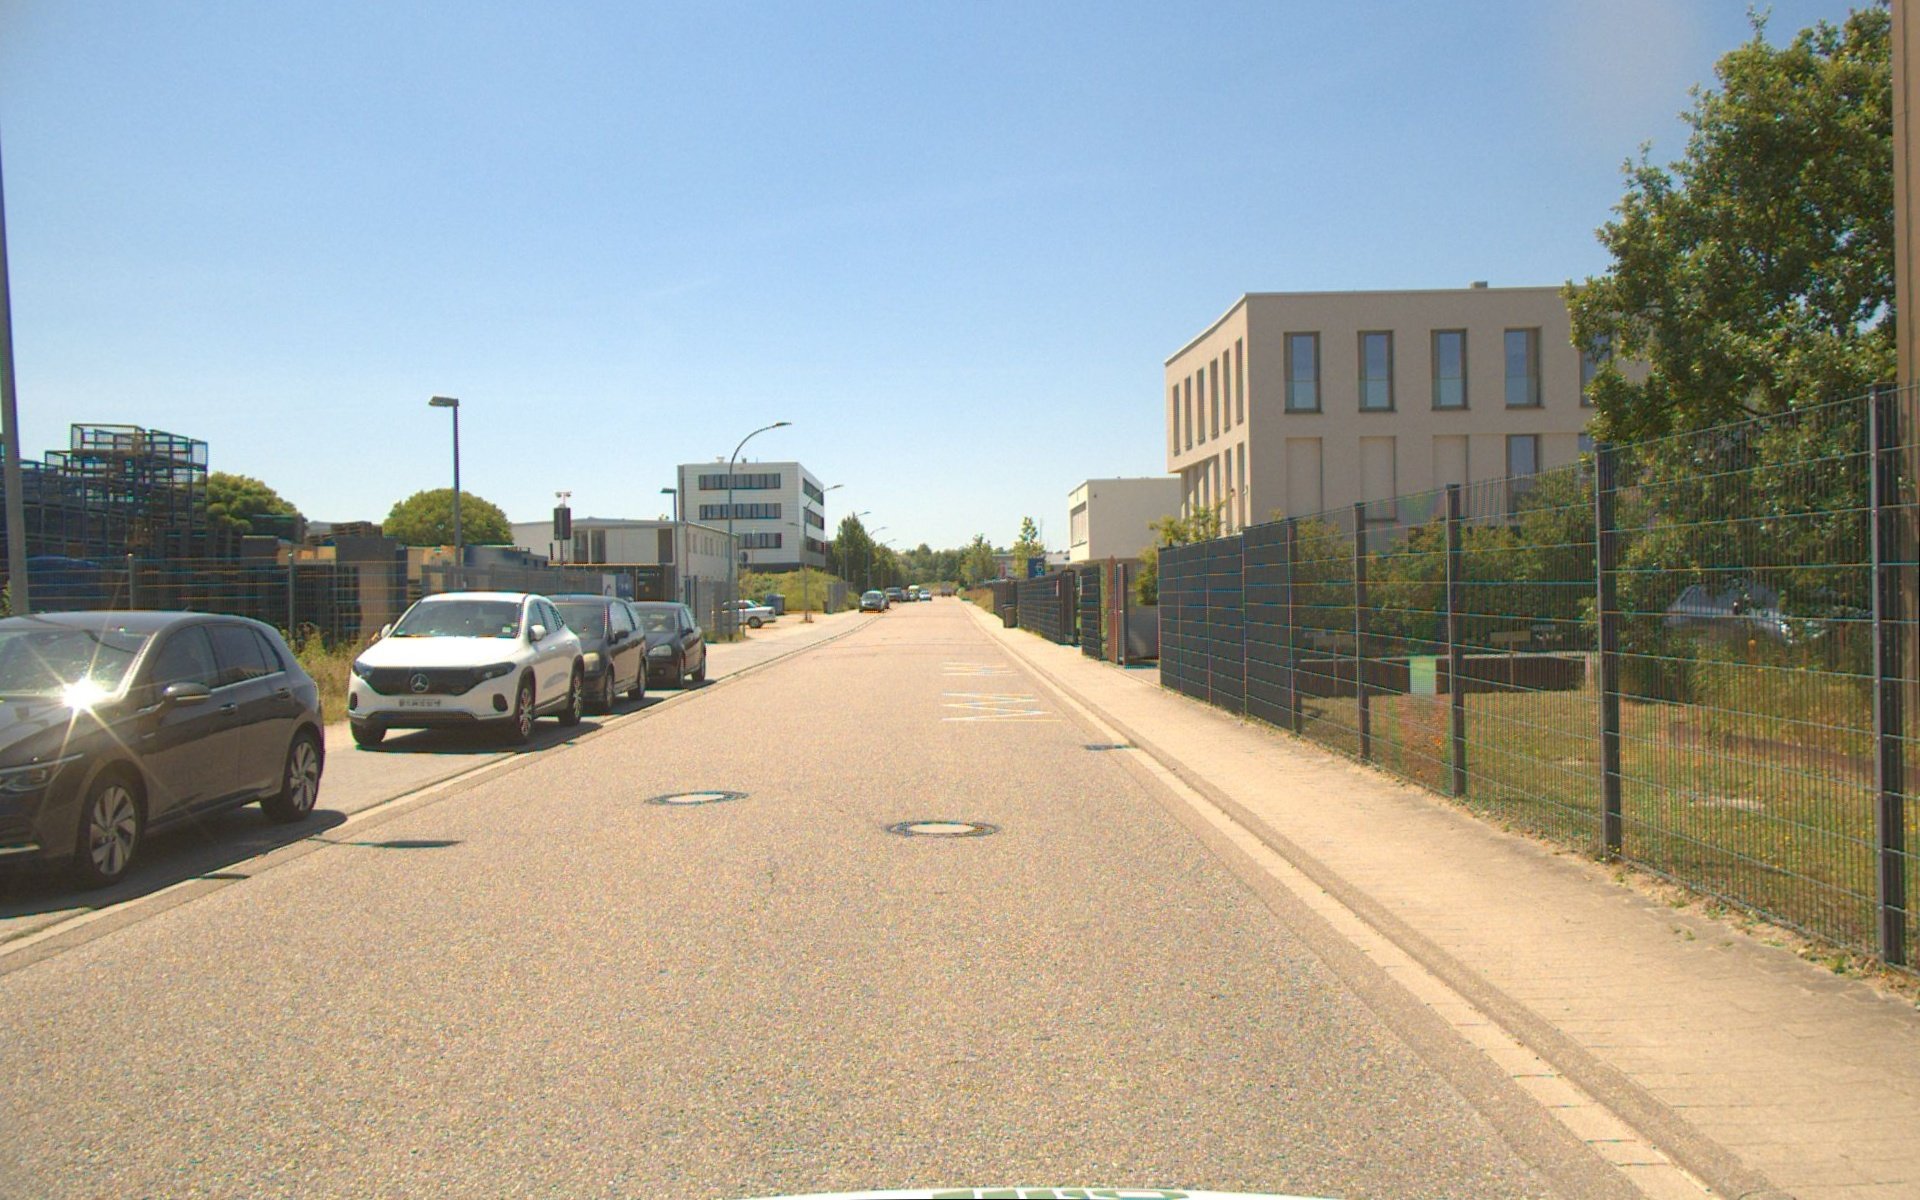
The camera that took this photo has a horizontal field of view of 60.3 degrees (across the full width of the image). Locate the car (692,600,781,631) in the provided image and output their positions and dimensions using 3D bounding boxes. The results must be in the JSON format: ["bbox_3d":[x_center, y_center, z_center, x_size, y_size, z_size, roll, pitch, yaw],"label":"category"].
[{"bbox_3d":[-11.282,0.771,83.549,4.190,1.388,1.897,-2,0,-1],"label":"car"}]

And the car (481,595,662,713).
[{"bbox_3d":[-5.620,0.725,24.456,1.733,1.583,4.500,0,0,-2],"label":"car"}]

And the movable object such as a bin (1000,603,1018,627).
[{"bbox_3d":[2.308,0.691,78.134,0.763,1.037,0.665,-5,1,3],"label":"movable object such as a bin"}]

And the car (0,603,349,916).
[{"bbox_3d":[-5.439,0.785,10.201,1.819,1.506,4.228,0,0,-1],"label":"car"}]

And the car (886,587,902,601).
[{"bbox_3d":[-7.201,-0.639,179.823,1.611,1.516,3.207,-1,0,0],"label":"car"}]

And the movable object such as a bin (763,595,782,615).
[{"bbox_3d":[-13.408,0.366,118.490,1.260,1.436,1.805,-1,0,-5],"label":"movable object such as a bin"}]

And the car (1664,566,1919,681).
[{"bbox_3d":[11.817,0.307,23.781,1.621,1.469,3.999,-2,0,-1],"label":"car"}]

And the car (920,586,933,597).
[{"bbox_3d":[-4.917,-1.212,241.835,1.767,1.584,3.999,-1,0,-1],"label":"car"}]

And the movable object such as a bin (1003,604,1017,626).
[{"bbox_3d":[2.329,0.690,77.052,0.541,0.944,0.522,-5,1,3],"label":"movable object such as a bin"}]

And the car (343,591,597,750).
[{"bbox_3d":[-5.458,0.715,18.990,1.733,1.620,4.358,0,0,-2],"label":"car"}]

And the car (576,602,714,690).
[{"bbox_3d":[-5.636,0.777,30.071,1.733,1.487,4.333,0,0,-1],"label":"car"}]

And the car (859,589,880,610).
[{"bbox_3d":[-6.813,-0.037,124.847,1.437,1.516,3.207,-1,0,0],"label":"car"}]
